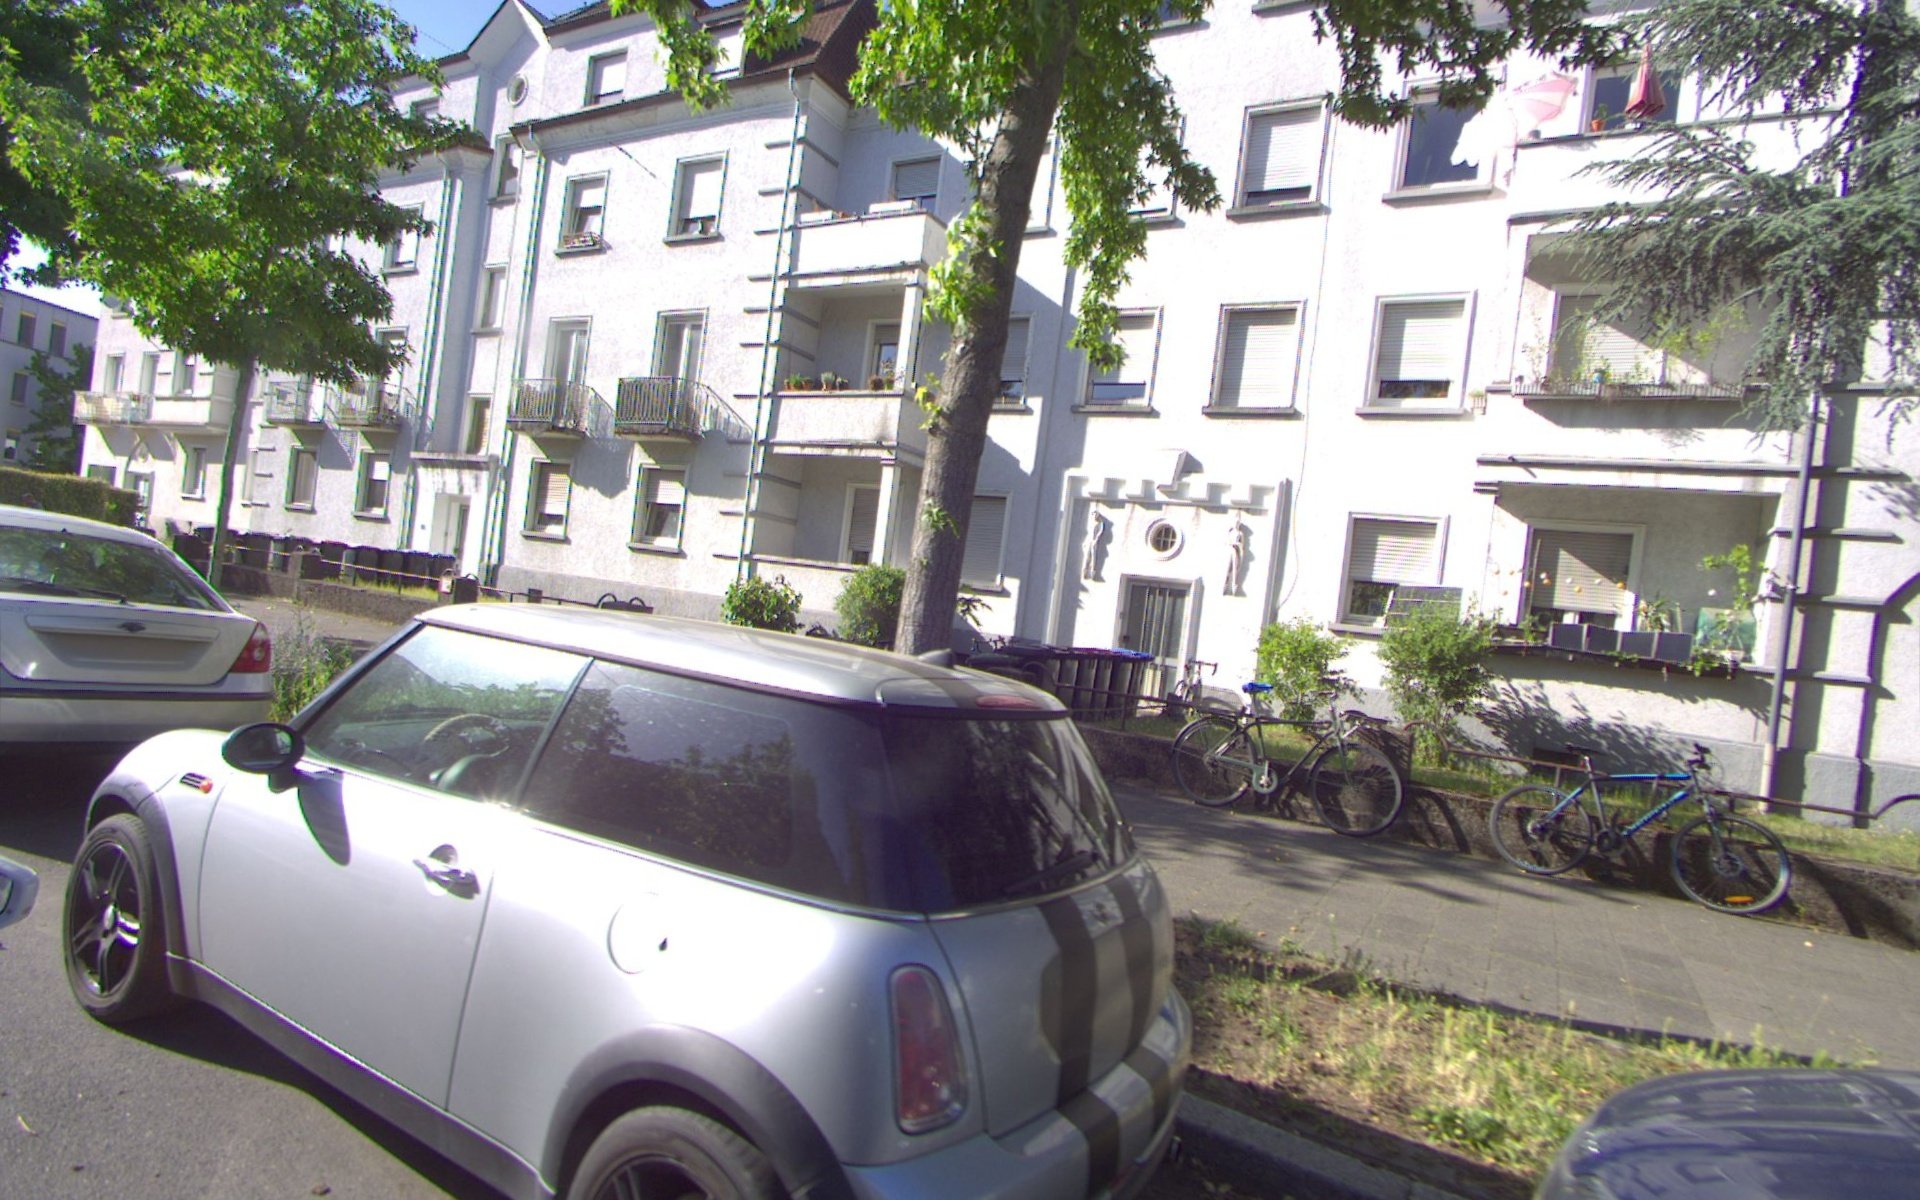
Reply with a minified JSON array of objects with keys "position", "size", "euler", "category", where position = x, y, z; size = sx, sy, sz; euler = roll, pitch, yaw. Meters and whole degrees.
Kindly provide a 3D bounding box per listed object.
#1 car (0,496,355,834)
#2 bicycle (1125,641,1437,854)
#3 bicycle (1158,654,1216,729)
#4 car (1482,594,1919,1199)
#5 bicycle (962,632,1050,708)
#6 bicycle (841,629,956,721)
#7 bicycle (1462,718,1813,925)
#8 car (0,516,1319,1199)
[{"position":[-5.993,0.122,6.000],"size":[4.619,1.490,1.903],"euler":[7,-3,29],"category":"car"},{"position":[2.588,1.123,8.172],"size":[2.192,1.272,0.840],"euler":[7,0,27],"category":"bicycle"},{"position":[3.502,1.372,15.446],"size":[0.467,0.984,1.581],"euler":[7,3,24],"category":"bicycle"},{"position":[2.917,1.088,0.820],"size":[4.366,1.559,1.696],"euler":[8,-1,31],"category":"car"},{"position":[0.685,0.981,14.541],"size":[0.468,0.984,1.579],"euler":[8,3,32],"category":"bicycle"},{"position":[-0.711,0.867,12.101],"size":[0.492,0.984,1.579],"euler":[7,3,30],"category":"bicycle"},{"position":[4.635,1.478,7.047],"size":[1.871,0.970,0.596],"euler":[7,1,31],"category":"bicycle"},{"position":[-1.080,0.736,3.079],"size":[3.717,1.470,1.792],"euler":[7,-1,30],"category":"car"}]
